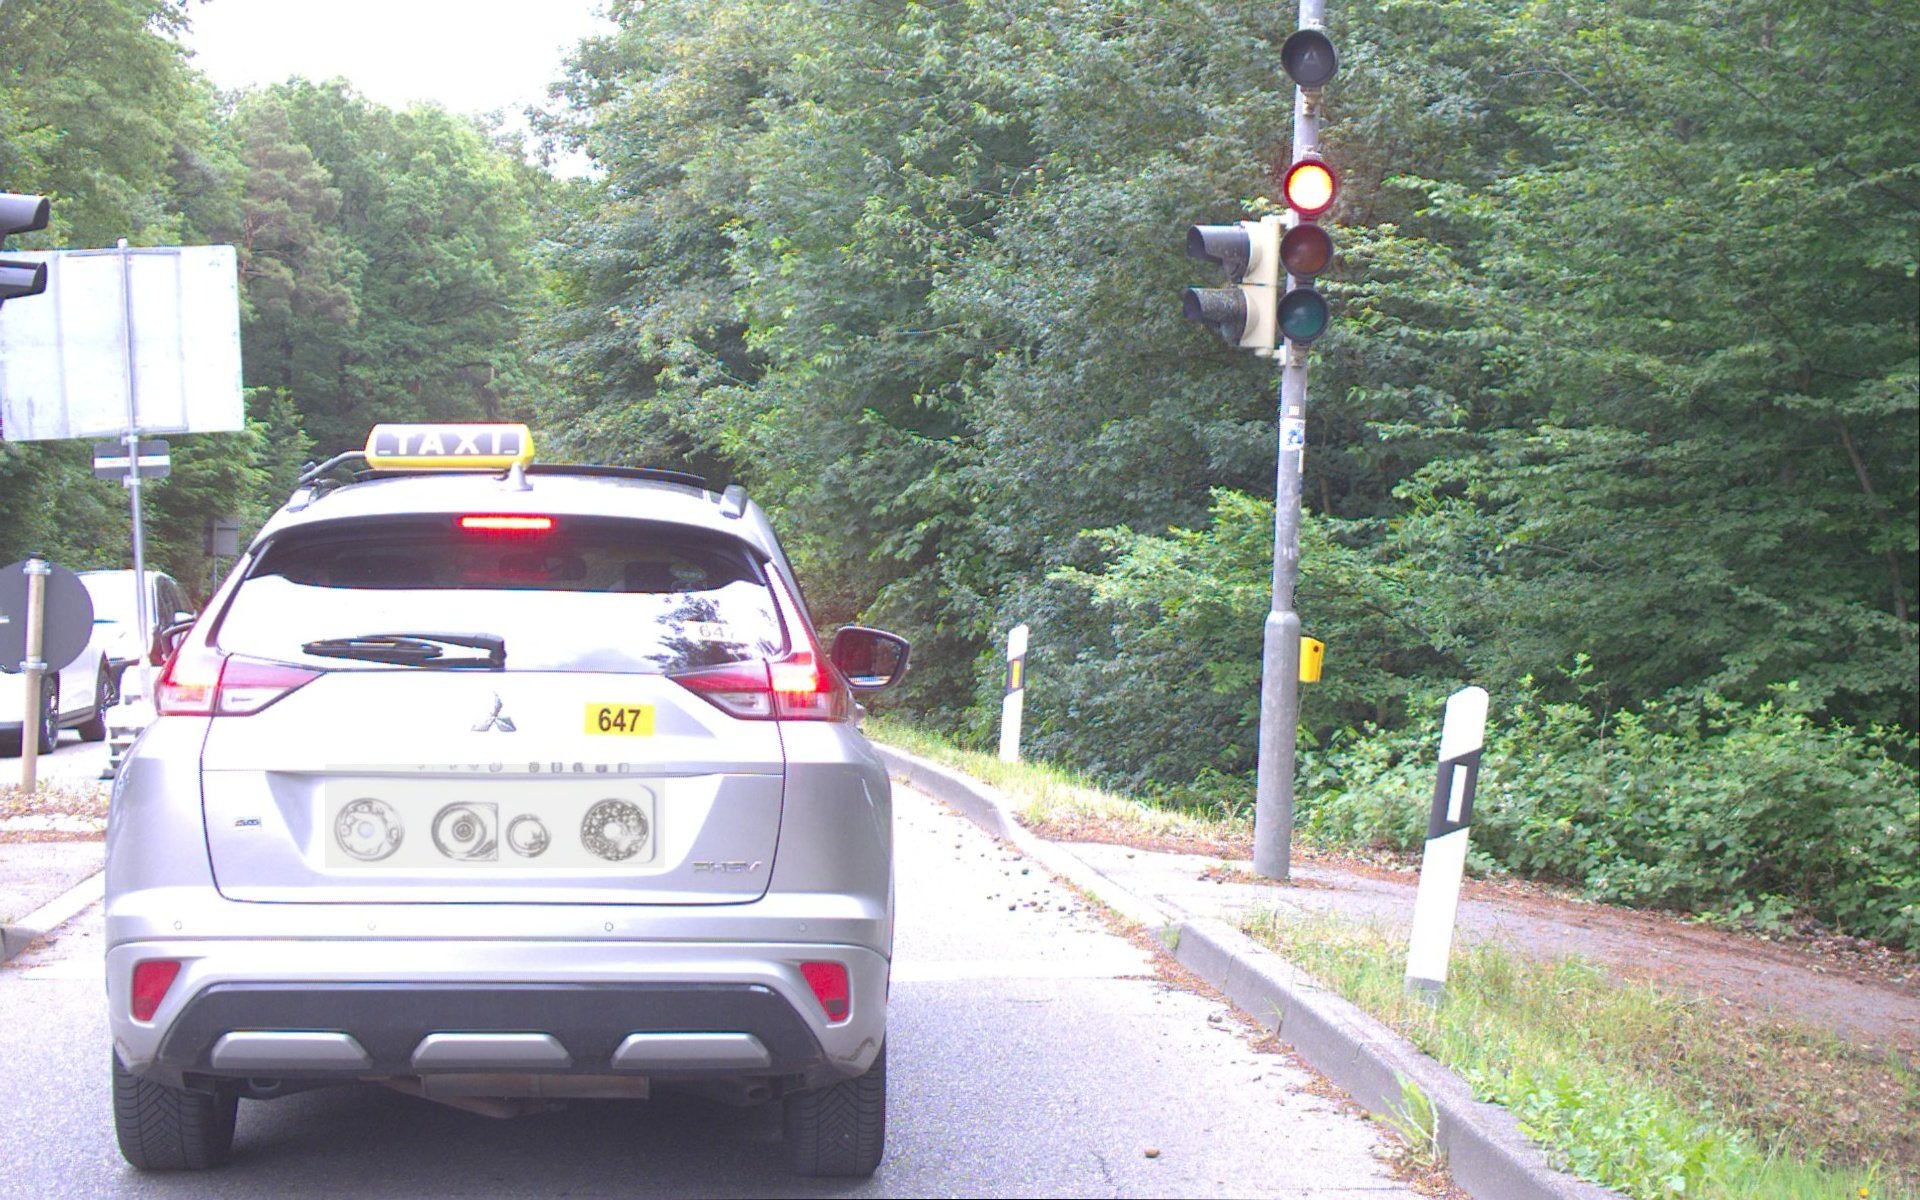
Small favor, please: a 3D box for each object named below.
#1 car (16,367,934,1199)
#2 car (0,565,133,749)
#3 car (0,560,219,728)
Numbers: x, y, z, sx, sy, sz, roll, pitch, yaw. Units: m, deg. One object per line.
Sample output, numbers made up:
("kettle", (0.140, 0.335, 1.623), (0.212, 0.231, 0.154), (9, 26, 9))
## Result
("car", (-1.205, 0.400, 9.108), (1.846, 1.774, 4.001), (1, 1, -6))
("car", (-7.823, 0.427, 27.564), (1.612, 1.317, 3.722), (-2, 2, -3))
("car", (-8.403, 0.393, 33.506), (1.811, 1.503, 3.722), (-2, 0, -5))
